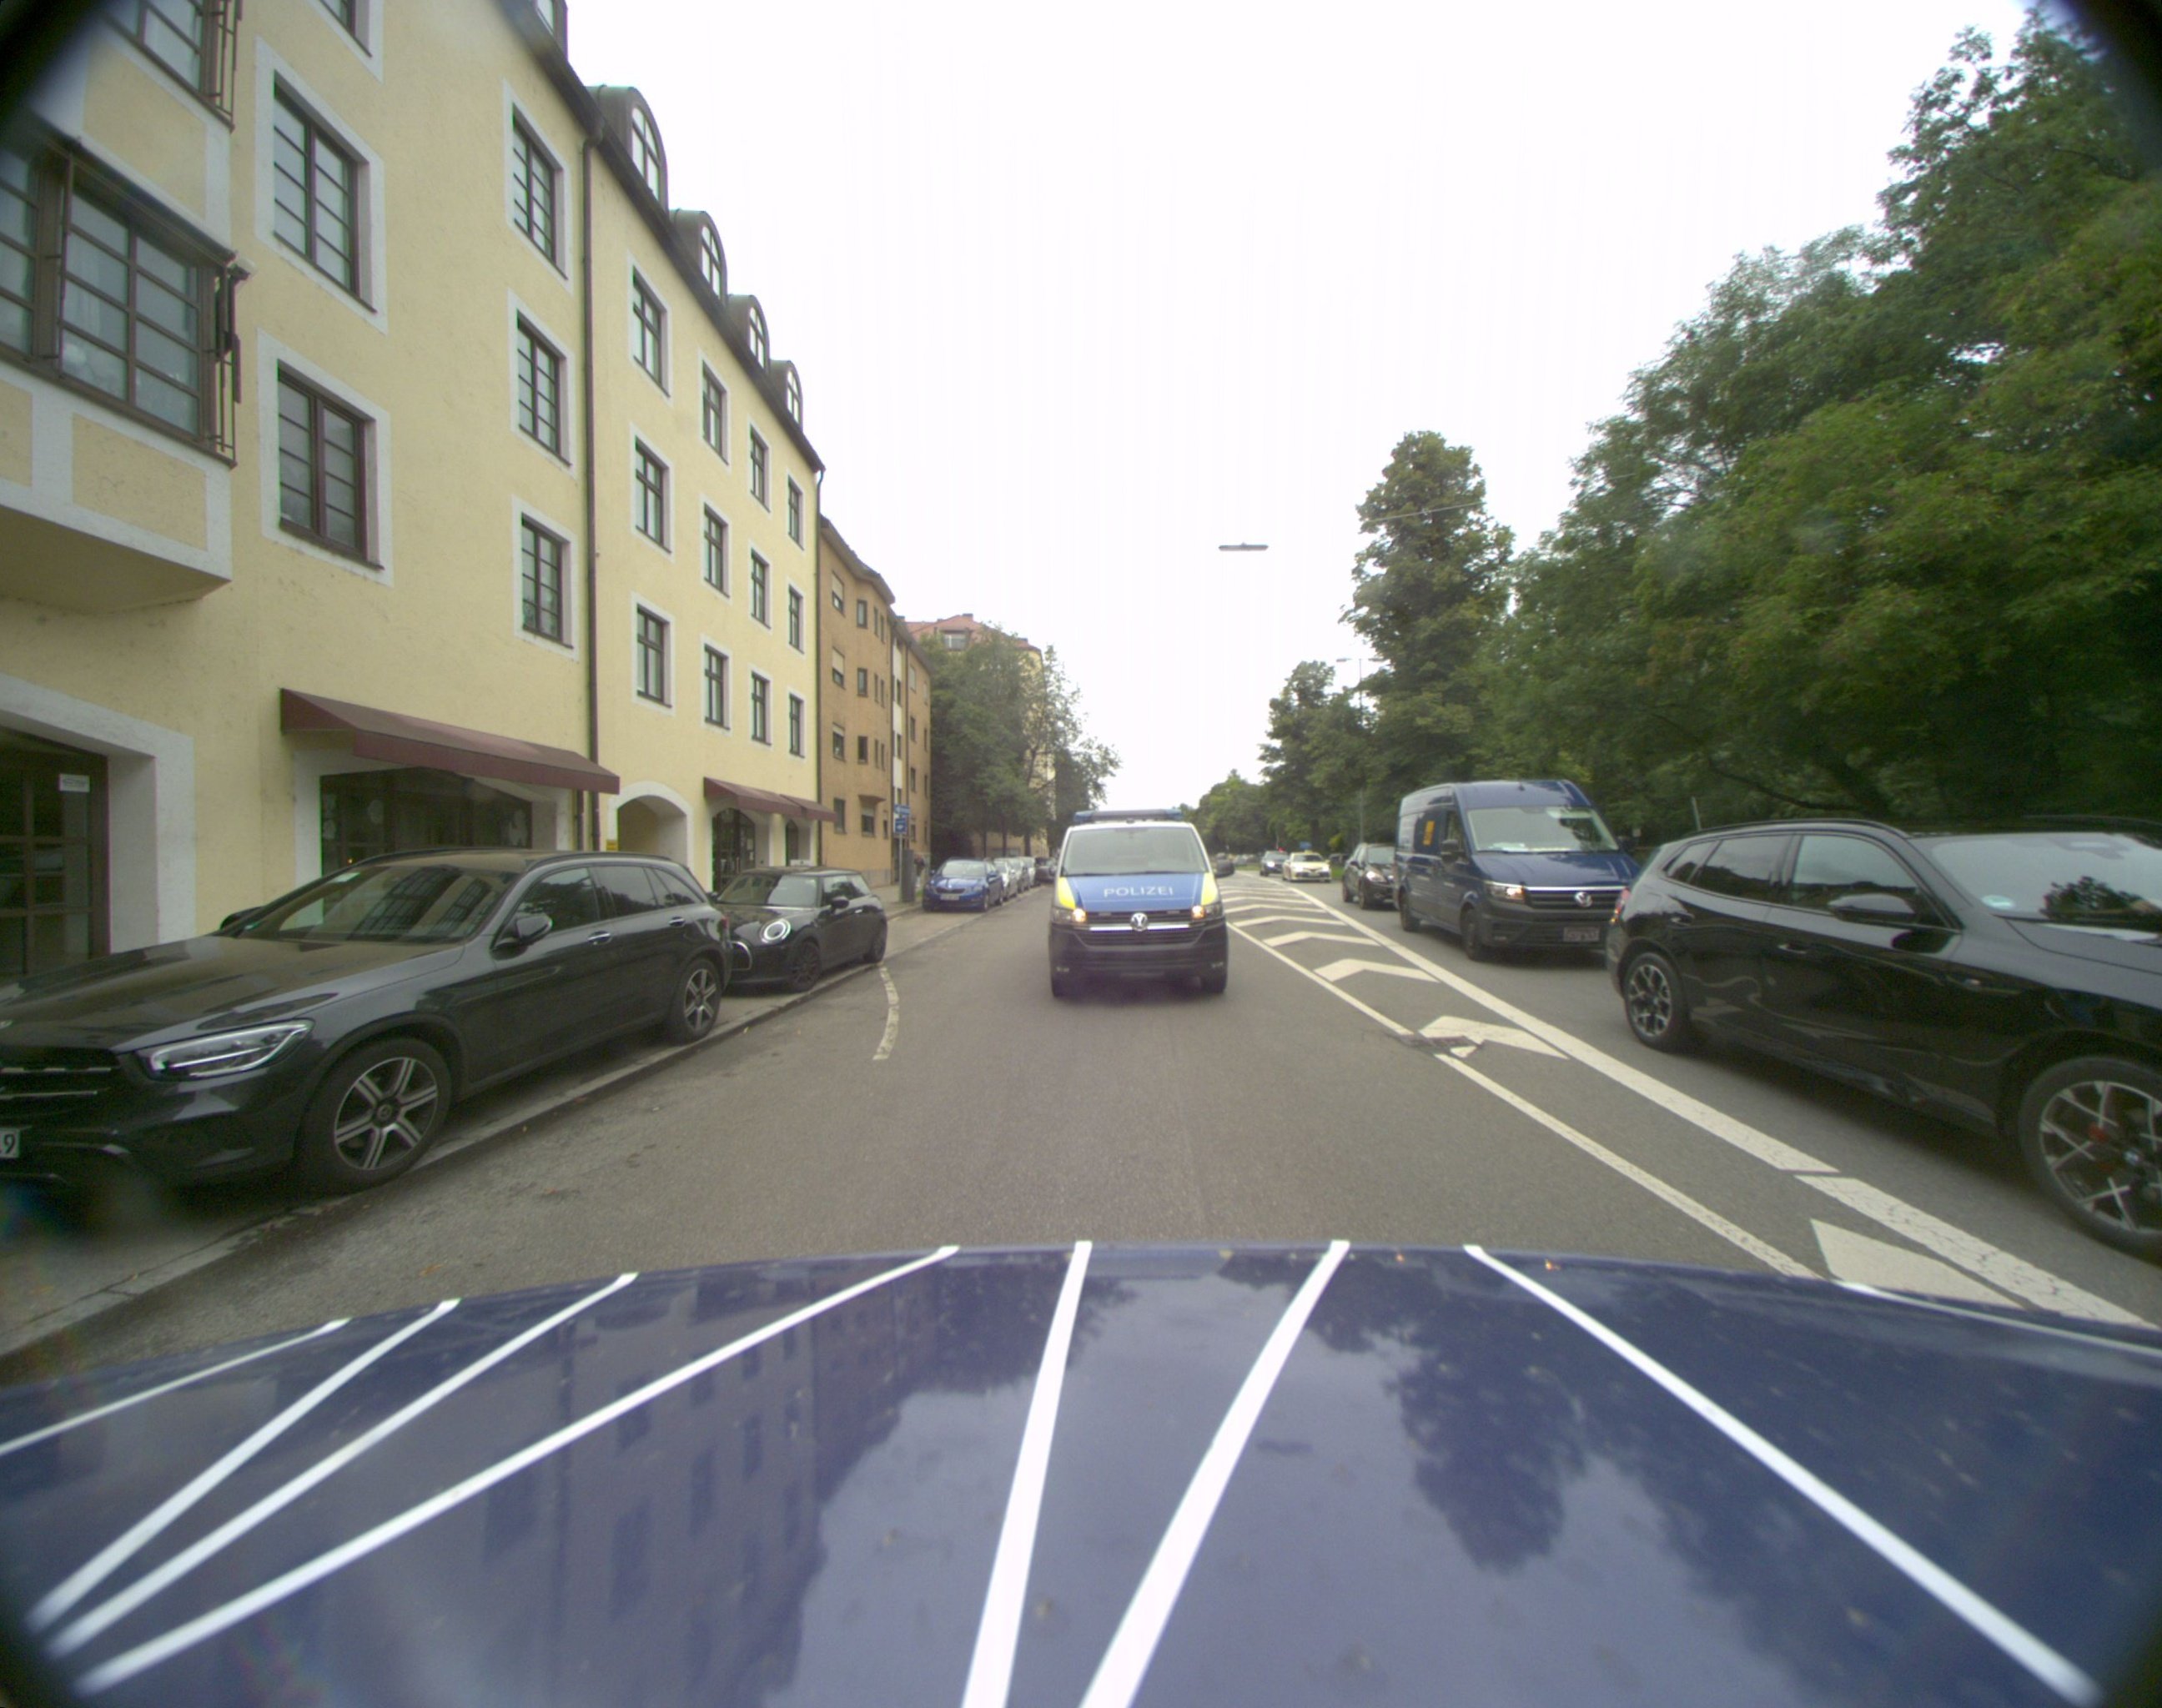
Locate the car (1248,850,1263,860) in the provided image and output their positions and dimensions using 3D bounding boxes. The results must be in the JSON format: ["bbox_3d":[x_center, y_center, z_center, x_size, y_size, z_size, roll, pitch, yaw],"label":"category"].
[{"bbox_3d":[33.005,0.204,143.980,1.866,1.736,4.000,-1,0,1],"label":"car"}]

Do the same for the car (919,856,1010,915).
[{"bbox_3d":[-3.287,0.827,22.254,1.760,1.487,4.488,1,0,3],"label":"car"}]

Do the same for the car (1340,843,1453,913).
[{"bbox_3d":[8.031,0.552,19.757,1.990,1.618,4.277,0,0,13],"label":"car"}]

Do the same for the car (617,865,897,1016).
[{"bbox_3d":[-3.912,0.937,9.959,1.760,1.487,3.824,1,0,5],"label":"car"}]

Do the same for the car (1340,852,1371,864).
[{"bbox_3d":[34.057,0.511,94.350,1.999,1.438,4.524,1,0,-3],"label":"car"}]

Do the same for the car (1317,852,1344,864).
[{"bbox_3d":[33.661,0.486,102.576,1.999,1.526,4.705,1,0,-3],"label":"car"}]

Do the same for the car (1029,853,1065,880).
[{"bbox_3d":[-2.049,0.721,46.386,1.796,1.488,4.376,2,0,2],"label":"car"}]

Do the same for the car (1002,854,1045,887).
[{"bbox_3d":[-2.756,0.787,37.293,1.631,1.487,3.821,1,0,3],"label":"car"}]

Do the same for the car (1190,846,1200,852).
[{"bbox_3d":[30.221,-1.369,201.390,1.897,1.438,4.032,0,0,-4],"label":"car"}]

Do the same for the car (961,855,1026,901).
[{"bbox_3d":[-3.088,0.818,27.672,1.694,1.487,4.434,1,0,2],"label":"car"}]

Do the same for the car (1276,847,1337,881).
[{"bbox_3d":[10.849,0.456,36.813,1.991,1.556,4.656,0,0,6],"label":"car"}]

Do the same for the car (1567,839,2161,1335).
[{"bbox_3d":[4.805,0.764,4.005,1.917,1.577,4.832,-3,1,8],"label":"car"}]

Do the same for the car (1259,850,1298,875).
[{"bbox_3d":[12.796,0.497,49.453,1.991,1.556,4.276,0,0,8],"label":"car"}]

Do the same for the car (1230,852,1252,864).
[{"bbox_3d":[23.536,0.564,111.924,1.999,1.742,4.524,-2,0,-3],"label":"car"}]

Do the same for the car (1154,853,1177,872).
[{"bbox_3d":[7.264,0.745,65.522,1.902,1.556,4.773,0,0,7],"label":"car"}]

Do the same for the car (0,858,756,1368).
[{"bbox_3d":[-4.092,0.893,4.957,1.760,1.669,4.707,1,0,2],"label":"car"}]

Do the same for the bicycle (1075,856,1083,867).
[{"bbox_3d":[-0.201,0.772,76.352,0.632,1.031,1.736,0,0,7],"label":"bicycle"}]

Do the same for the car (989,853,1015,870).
[{"bbox_3d":[-7.182,0.632,69.222,2.054,1.458,4.244,0,0,-2],"label":"car"}]

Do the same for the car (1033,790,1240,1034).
[{"bbox_3d":[0.587,0.492,9.161,1.856,2.198,4.553,-1,1,2],"label":"car"}]

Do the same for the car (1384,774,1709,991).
[{"bbox_3d":[6.466,0.273,11.638,2.188,2.450,5.855,0,1,9],"label":"car"}]

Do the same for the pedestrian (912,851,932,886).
[{"bbox_3d":[-7.446,0.676,35.625,0.672,1.614,0.980,-1,2,3],"label":"pedestrian"}]

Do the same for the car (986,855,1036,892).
[{"bbox_3d":[-2.962,0.794,32.729,1.631,1.487,3.787,1,0,3],"label":"car"}]

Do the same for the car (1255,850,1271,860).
[{"bbox_3d":[32.892,0.096,137.272,1.885,1.736,4.000,-1,0,1],"label":"car"}]
